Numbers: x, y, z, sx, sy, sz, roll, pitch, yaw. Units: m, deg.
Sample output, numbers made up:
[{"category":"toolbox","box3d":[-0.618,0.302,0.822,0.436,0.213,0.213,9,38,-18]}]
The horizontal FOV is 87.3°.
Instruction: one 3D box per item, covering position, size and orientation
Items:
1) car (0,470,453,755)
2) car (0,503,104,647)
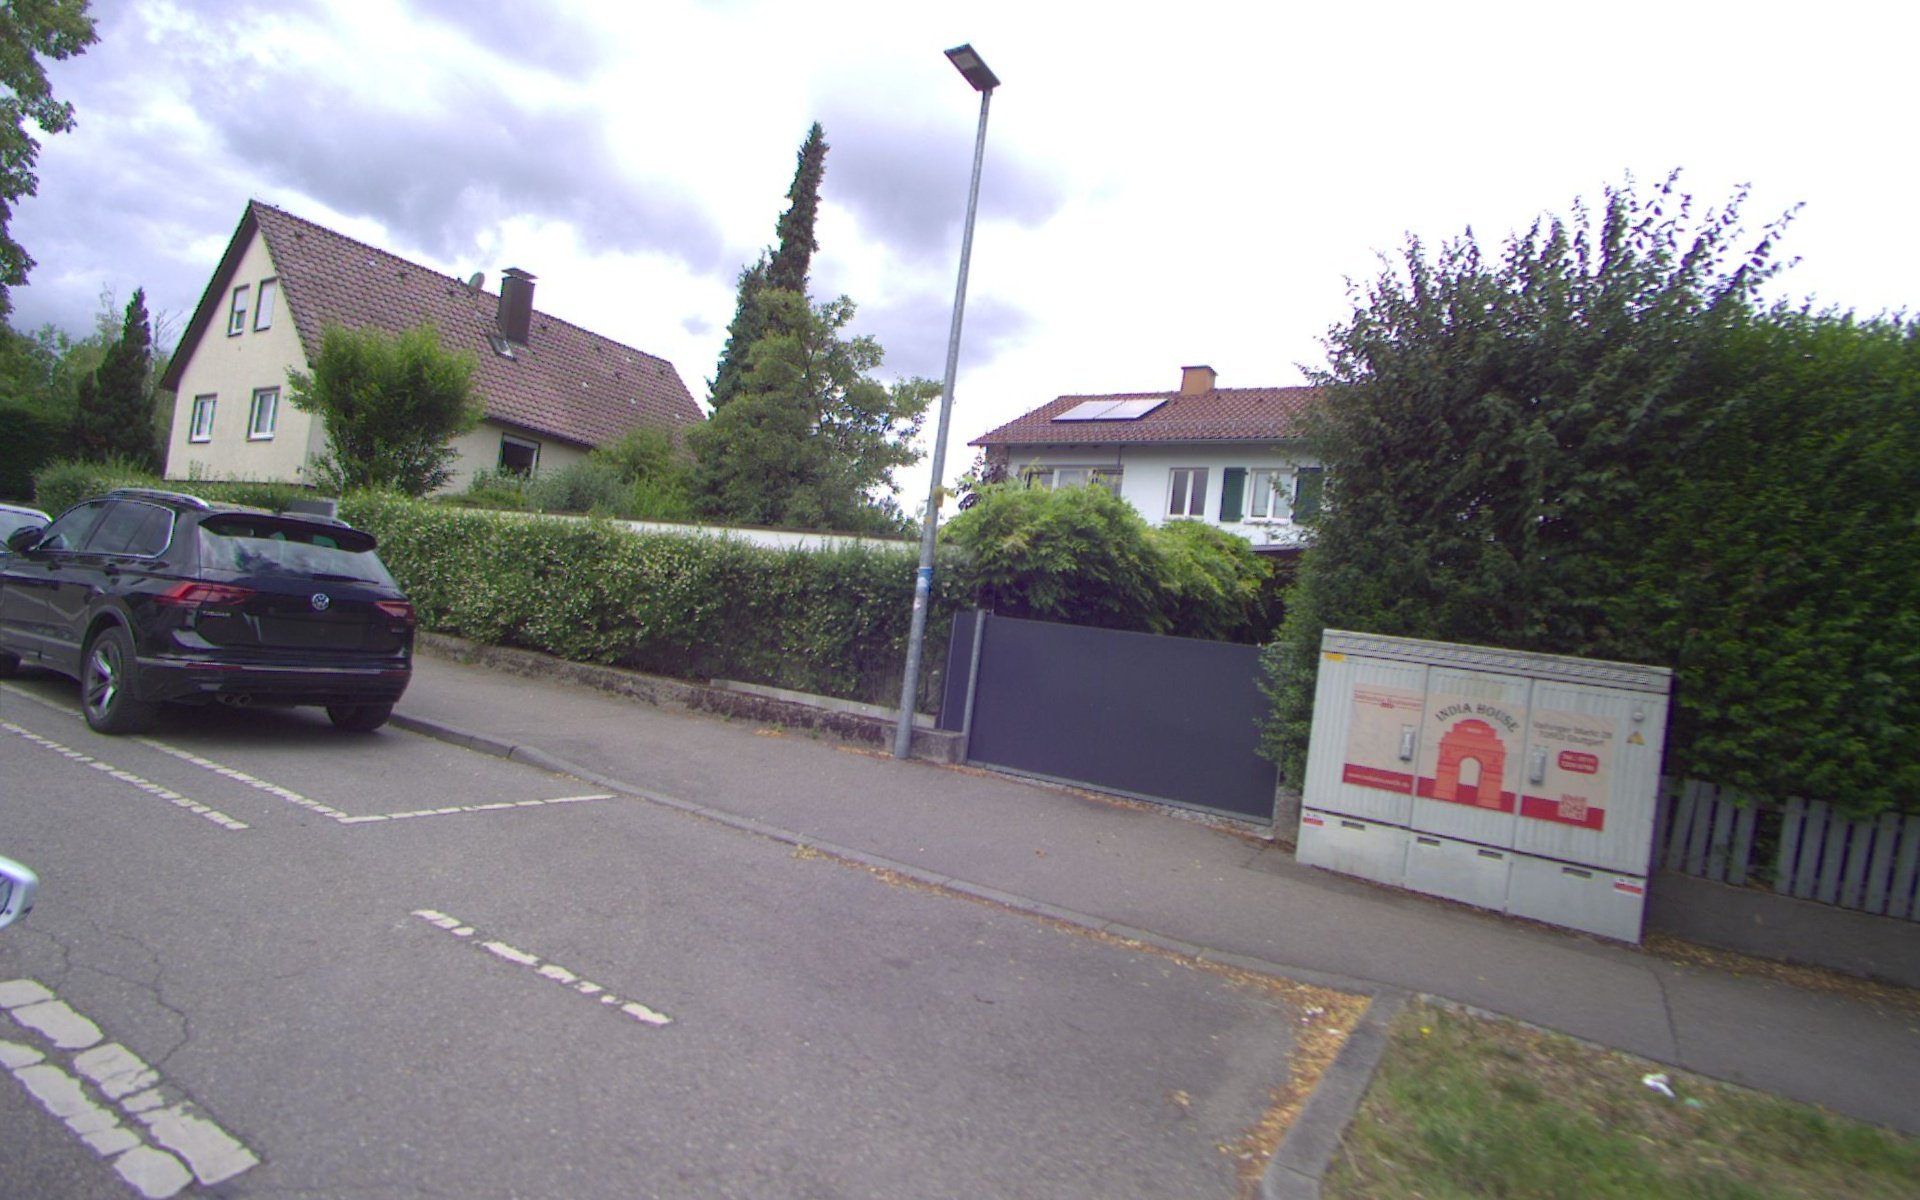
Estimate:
[{"category":"car","box3d":[-6.332,-0.005,8.107,4.472,1.655,1.769,7,-2,31]},{"category":"car","box3d":[-11.045,-0.428,10.878,3.480,1.367,1.560,7,0,30]}]
